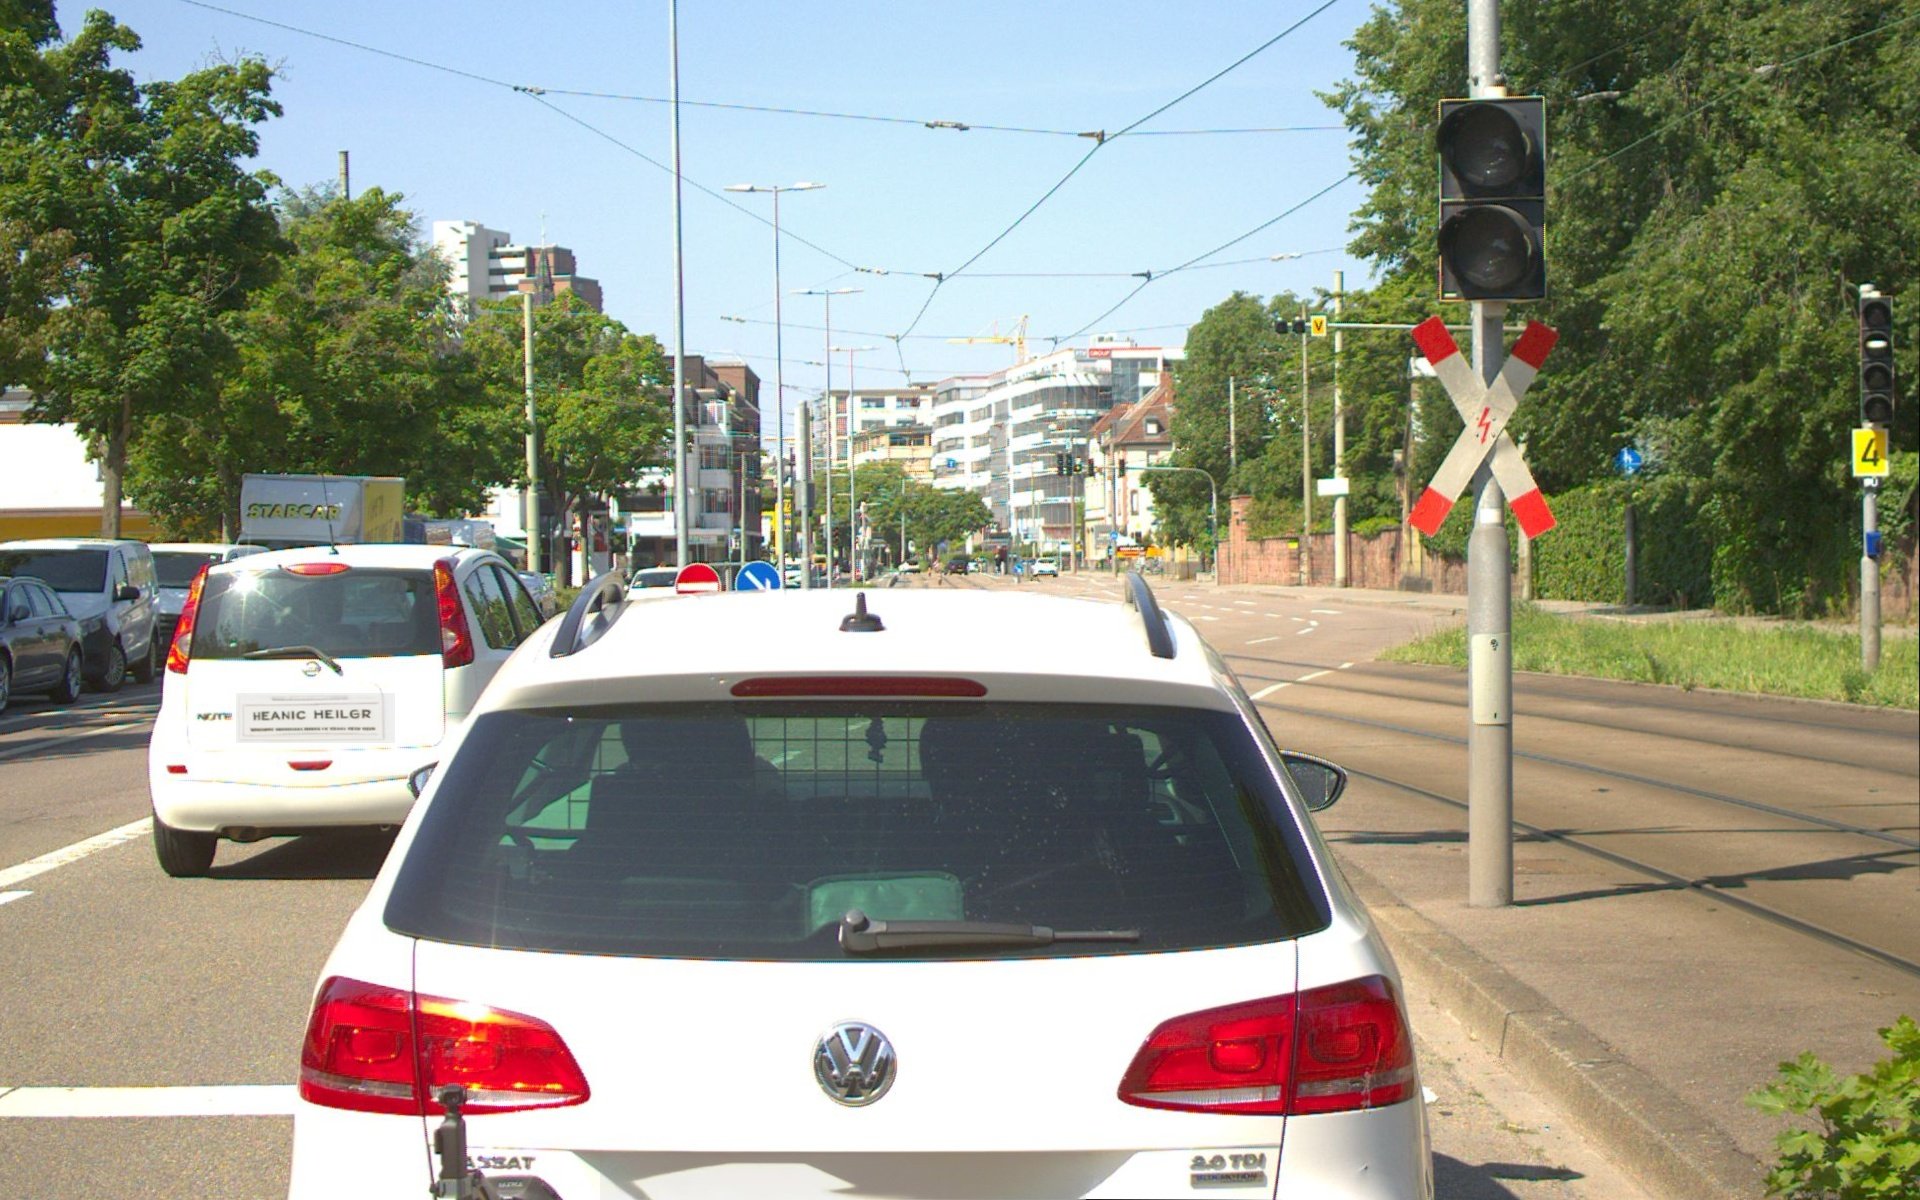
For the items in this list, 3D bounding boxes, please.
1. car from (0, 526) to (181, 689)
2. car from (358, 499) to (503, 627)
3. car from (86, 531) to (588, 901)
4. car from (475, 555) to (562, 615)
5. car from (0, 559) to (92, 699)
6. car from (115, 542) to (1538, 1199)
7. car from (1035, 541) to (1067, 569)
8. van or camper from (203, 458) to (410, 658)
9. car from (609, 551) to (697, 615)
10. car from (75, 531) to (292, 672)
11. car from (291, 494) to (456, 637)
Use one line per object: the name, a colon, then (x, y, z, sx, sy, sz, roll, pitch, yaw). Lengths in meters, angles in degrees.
car: (-11.524, 0.057, 44.147, 2.195, 1.934, 5.186, -2, 1, -5)
car: (-11.351, -0.815, 74.079, 2.196, 2.621, 5.979, 1, 1, 0)
car: (-2.910, 0.468, 16.859, 1.730, 1.591, 4.011, 0, 1, 0)
car: (-11.570, -0.409, 90.270, 1.604, 1.485, 4.618, 1, 1, 1)
car: (-11.119, 0.316, 37.805, 1.932, 1.449, 4.886, -1, 1, -1)
car: (-0.175, 0.659, 6.268, 1.778, 1.485, 3.847, 1, 1, 0)
car: (6.824, -3.388, 257.635, 2.126, 2.007, 5.283, -1, 1, -1)
van or camper: (-11.198, -0.742, 59.430, 2.196, 3.230, 6.772, 1, 1, 1)
car: (-7.305, -0.417, 82.061, 1.727, 1.460, 4.000, -1, 1, 0)
car: (-11.476, -0.029, 51.152, 2.195, 1.934, 5.185, -2, 1, -2)
car: (-11.420, -0.702, 67.362, 2.196, 2.659, 6.080, 1, 1, 0)
